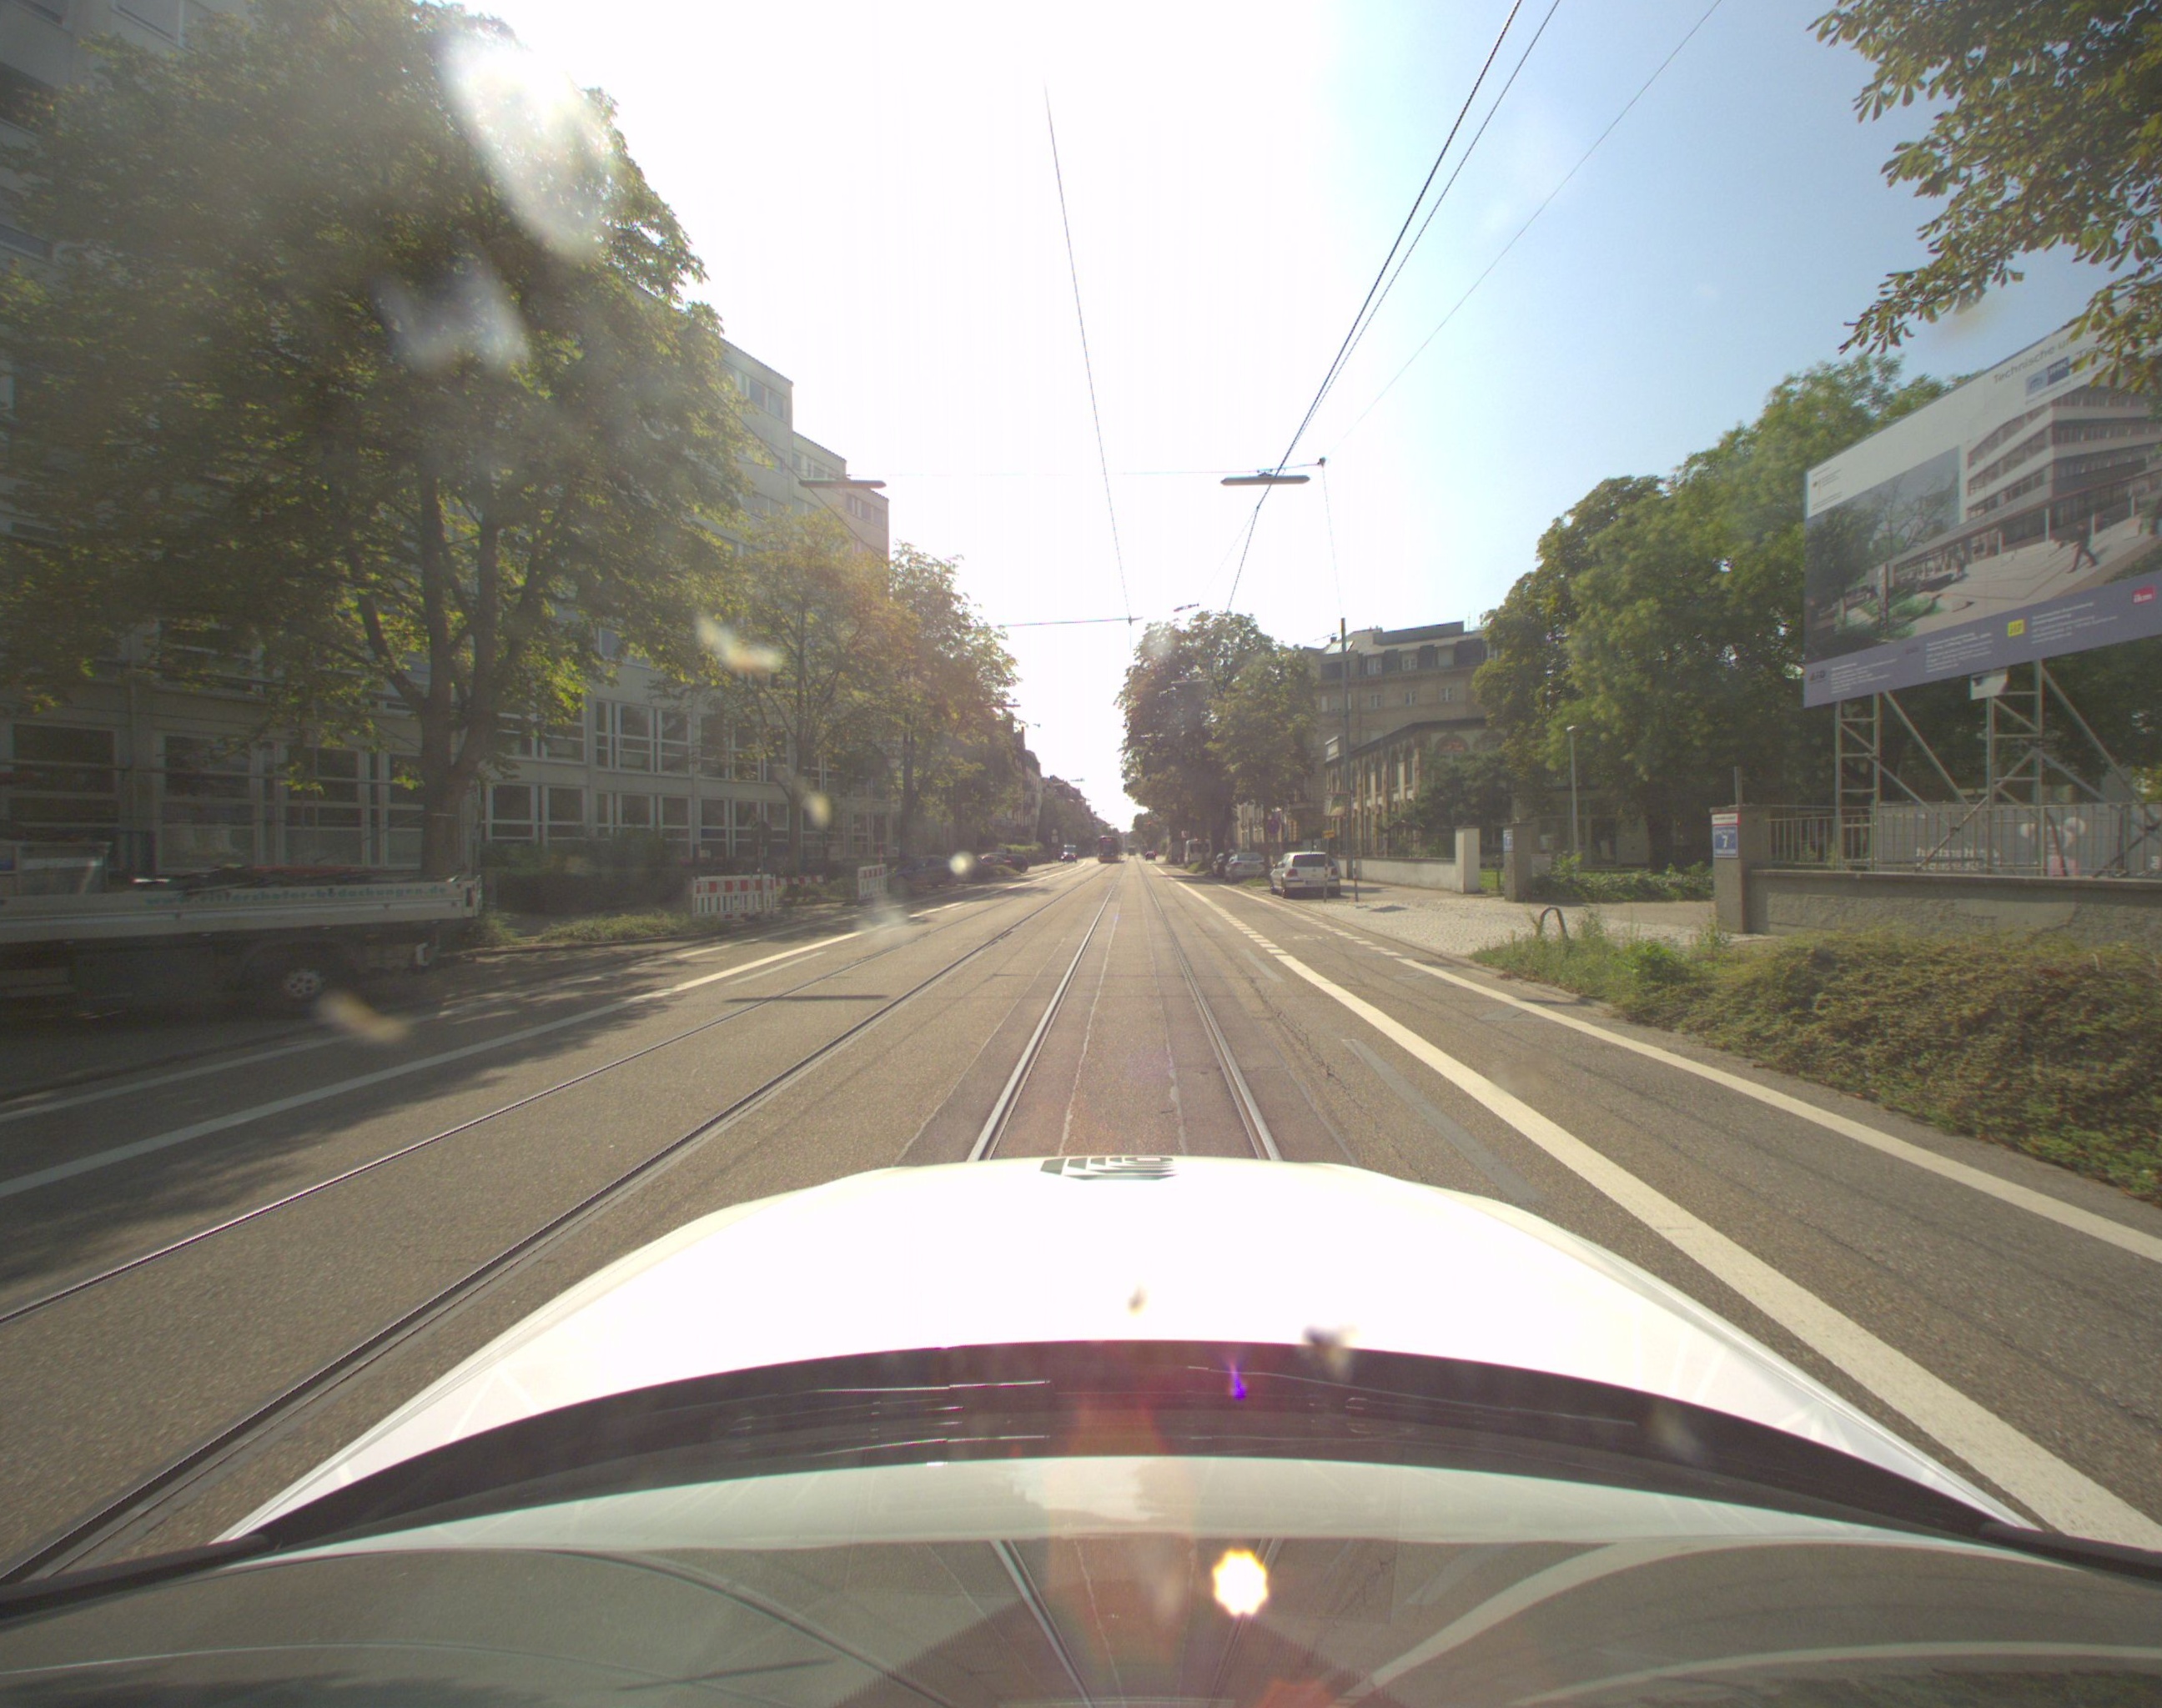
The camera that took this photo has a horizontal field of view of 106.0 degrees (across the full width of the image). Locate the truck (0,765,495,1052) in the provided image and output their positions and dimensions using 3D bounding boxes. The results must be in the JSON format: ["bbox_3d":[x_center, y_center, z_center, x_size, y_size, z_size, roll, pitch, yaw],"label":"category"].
[{"bbox_3d":[-9.472,0.463,7.989,5.995,2.434,2.127,-1,0,-36],"label":"truck"}]

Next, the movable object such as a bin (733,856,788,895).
[{"bbox_3d":[-13.416,0.892,34.152,1.676,1.559,1.355,-1,0,2],"label":"movable object such as a bin"}]

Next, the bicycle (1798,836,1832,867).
[{"bbox_3d":[31.106,-0.101,34.546,0.762,1.302,2.287,-1,0,34],"label":"bicycle"}]

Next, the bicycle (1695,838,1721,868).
[{"bbox_3d":[27.705,-0.049,36.004,0.762,1.302,2.542,-1,0,34],"label":"bicycle"}]

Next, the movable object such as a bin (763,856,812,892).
[{"bbox_3d":[-13.379,0.886,37.189,1.676,1.559,1.355,-1,0,2],"label":"movable object such as a bin"}]

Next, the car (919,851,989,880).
[{"bbox_3d":[-7.254,0.640,46.580,3.604,1.574,1.657,0,0,-38],"label":"car"}]

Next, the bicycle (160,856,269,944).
[{"bbox_3d":[-16.151,0.825,15.165,2.318,1.525,0.605,1,0,23],"label":"bicycle"}]

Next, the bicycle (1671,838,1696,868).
[{"bbox_3d":[27.046,-0.034,36.598,0.762,1.302,2.542,-1,0,34],"label":"bicycle"}]

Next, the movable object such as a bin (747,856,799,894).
[{"bbox_3d":[-13.495,0.901,35.715,1.676,1.559,1.355,-1,0,2],"label":"movable object such as a bin"}]

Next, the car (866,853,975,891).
[{"bbox_3d":[-7.293,0.786,37.341,4.715,1.451,1.656,-3,1,-43],"label":"car"}]

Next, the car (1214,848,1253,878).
[{"bbox_3d":[8.556,0.469,45.844,1.785,1.577,4.006,-1,0,5],"label":"car"}]

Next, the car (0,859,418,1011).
[{"bbox_3d":[-10.697,0.866,10.030,3.880,1.508,1.700,-1,0,-40],"label":"car"}]

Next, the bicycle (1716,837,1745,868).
[{"bbox_3d":[28.458,-0.050,35.705,0.762,1.302,2.542,-1,0,34],"label":"bicycle"}]

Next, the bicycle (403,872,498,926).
[{"bbox_3d":[-14.675,1.023,18.950,2.319,1.169,0.565,1,0,20],"label":"bicycle"}]

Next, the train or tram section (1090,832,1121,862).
[{"bbox_3d":[3.340,-0.881,107.511,3.481,3.704,12.428,0,1,5],"label":"train or tram section"}]

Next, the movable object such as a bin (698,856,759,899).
[{"bbox_3d":[-13.425,0.875,31.063,1.676,1.559,1.355,-1,0,2],"label":"movable object such as a bin"}]

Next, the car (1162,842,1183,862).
[{"bbox_3d":[10.619,-0.222,94.740,1.988,2.233,3.998,-1,0,-1],"label":"car"}]

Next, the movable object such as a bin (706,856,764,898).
[{"bbox_3d":[-13.782,0.901,32.519,1.676,1.559,1.355,-1,0,2],"label":"movable object such as a bin"}]

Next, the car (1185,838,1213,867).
[{"bbox_3d":[9.698,-0.126,67.403,1.985,2.365,4.004,0,0,4],"label":"car"}]

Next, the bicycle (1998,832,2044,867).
[{"bbox_3d":[36.293,-0.160,31.469,0.601,1.302,2.187,-1,0,34],"label":"bicycle"}]

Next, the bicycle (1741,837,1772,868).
[{"bbox_3d":[29.276,-0.070,35.325,0.762,1.302,2.542,-1,0,34],"label":"bicycle"}]

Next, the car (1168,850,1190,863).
[{"bbox_3d":[10.509,0.255,87.333,1.986,1.398,4.001,-1,0,1],"label":"car"}]

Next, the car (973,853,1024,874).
[{"bbox_3d":[-6.385,0.693,63.047,3.604,1.574,1.657,0,0,-38],"label":"car"}]

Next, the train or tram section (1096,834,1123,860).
[{"bbox_3d":[4.314,-1.045,119.914,3.481,3.704,12.428,0,1,5],"label":"train or tram section"}]

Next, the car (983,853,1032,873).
[{"bbox_3d":[-5.953,0.700,66.067,3.604,1.574,1.657,0,0,-38],"label":"car"}]

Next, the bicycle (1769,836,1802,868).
[{"bbox_3d":[30.292,-0.085,35.040,0.762,1.302,2.542,-1,0,34],"label":"bicycle"}]

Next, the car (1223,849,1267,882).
[{"bbox_3d":[7.943,0.524,39.725,1.633,1.511,3.645,-1,0,4],"label":"car"}]

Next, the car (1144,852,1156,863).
[{"bbox_3d":[11.373,0.514,134.359,1.985,1.801,4.004,0,0,4],"label":"car"}]

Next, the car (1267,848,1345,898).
[{"bbox_3d":[7.149,0.574,26.176,1.782,1.446,3.739,-2,0,6],"label":"car"}]

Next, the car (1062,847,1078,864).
[{"bbox_3d":[-1.542,0.180,117.918,2.235,2.441,4.000,0,0,0],"label":"car"}]
